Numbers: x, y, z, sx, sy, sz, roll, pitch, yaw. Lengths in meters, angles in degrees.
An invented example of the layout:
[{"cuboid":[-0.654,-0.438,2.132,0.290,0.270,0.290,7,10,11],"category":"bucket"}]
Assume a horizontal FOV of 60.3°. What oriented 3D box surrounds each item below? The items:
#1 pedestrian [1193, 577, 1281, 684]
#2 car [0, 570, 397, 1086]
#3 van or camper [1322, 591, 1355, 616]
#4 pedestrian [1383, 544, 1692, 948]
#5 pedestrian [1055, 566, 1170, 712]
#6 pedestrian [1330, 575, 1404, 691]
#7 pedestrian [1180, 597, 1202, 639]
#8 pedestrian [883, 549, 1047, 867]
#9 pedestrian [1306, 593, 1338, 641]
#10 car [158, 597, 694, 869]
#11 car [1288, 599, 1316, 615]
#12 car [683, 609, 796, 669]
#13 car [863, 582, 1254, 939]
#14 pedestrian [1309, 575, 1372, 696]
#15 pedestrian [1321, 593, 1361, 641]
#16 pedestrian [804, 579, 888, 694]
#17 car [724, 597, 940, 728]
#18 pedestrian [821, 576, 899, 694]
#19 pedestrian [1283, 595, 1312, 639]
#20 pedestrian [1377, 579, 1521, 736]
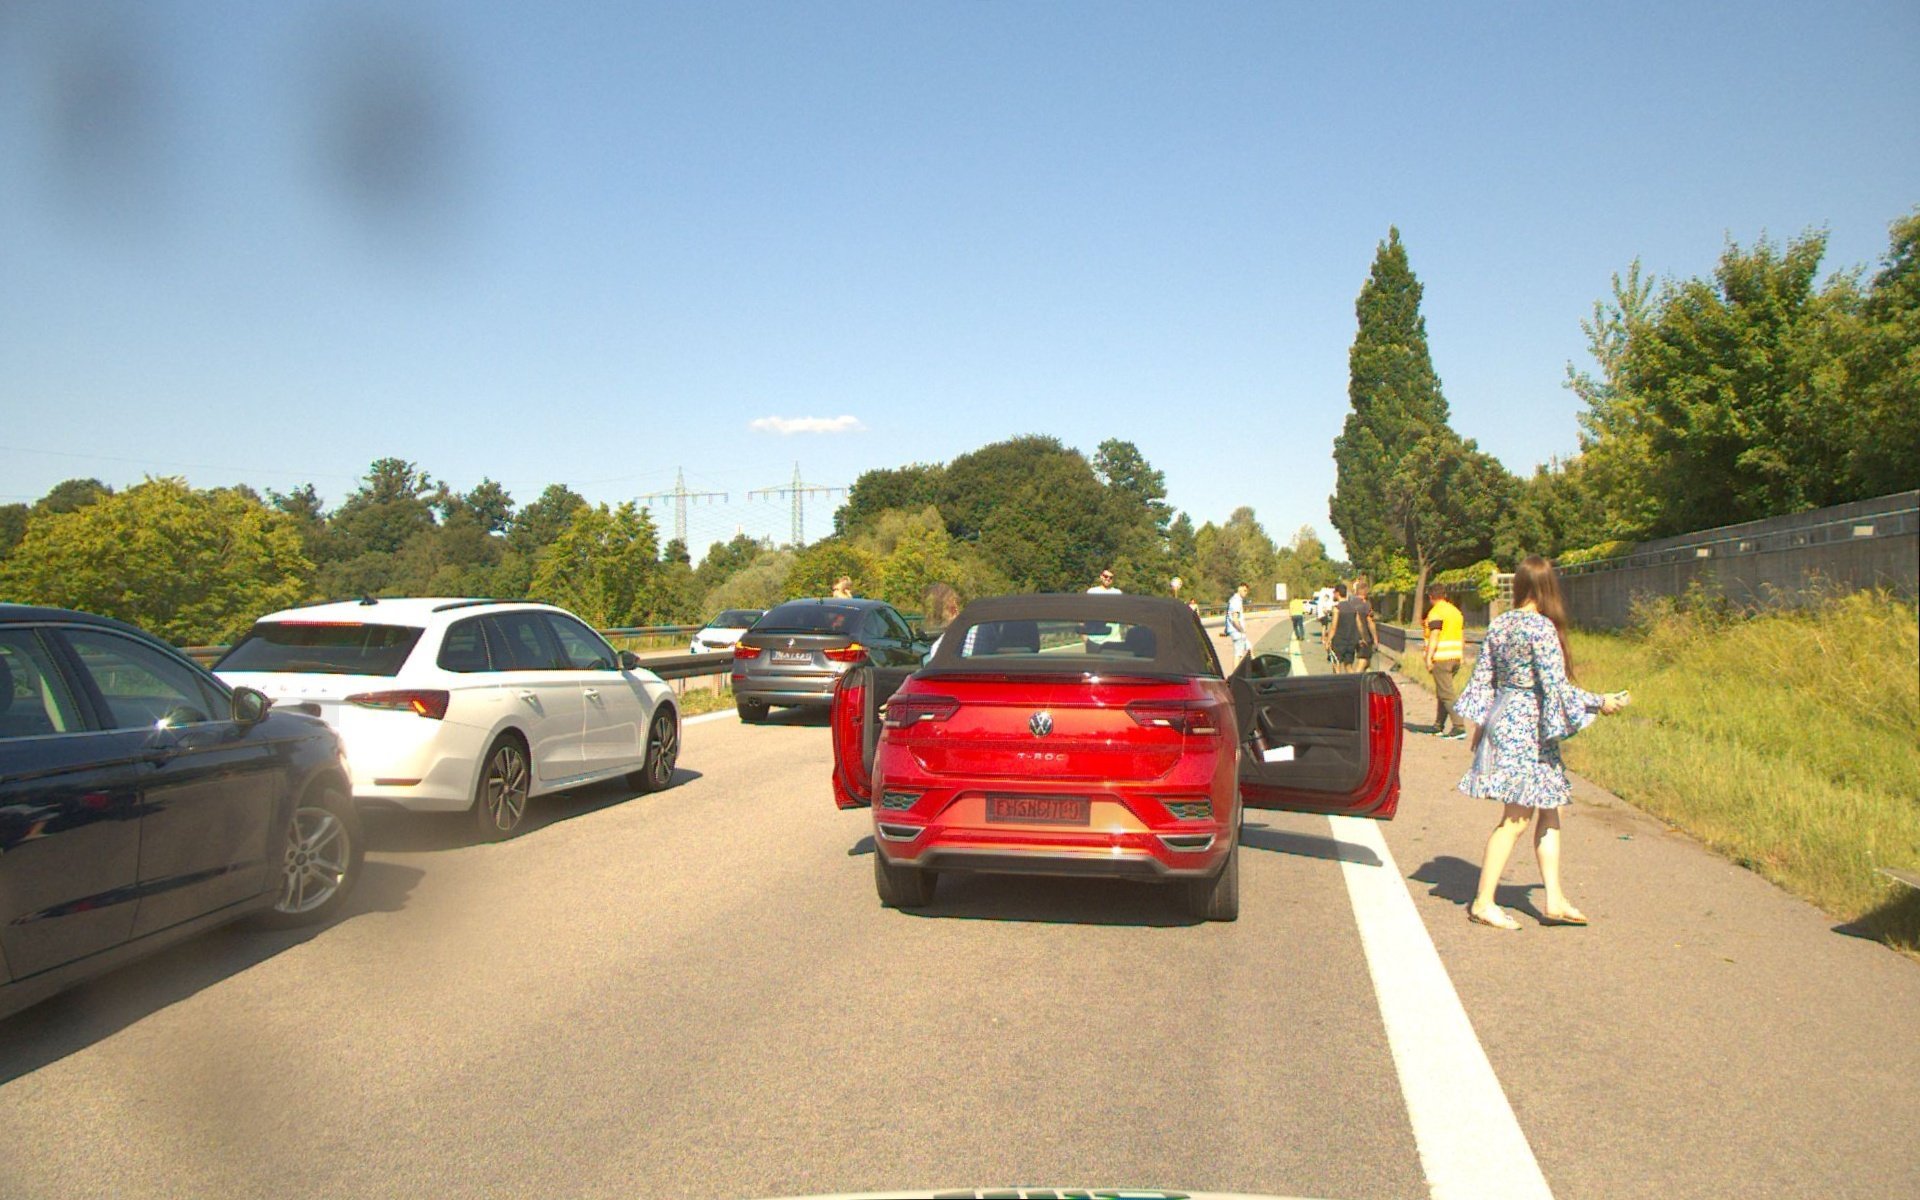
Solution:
[{"cuboid":[4.833,0.533,28.910,1.074,1.820,1.099,1,-1,-25],"category":"pedestrian"},{"cuboid":[-3.681,0.686,5.776,1.751,1.519,4.494,-1,0,2],"category":"car"},{"cuboid":[35.988,0.373,157.298,1.955,2.356,4.464,1,0,28],"category":"van or camper"},{"cuboid":[2.706,0.622,7.756,1.116,1.725,0.881,-1,0,-36],"category":"pedestrian"},{"cuboid":[2.092,0.520,22.830,1.092,1.946,1.247,-1,0,-25],"category":"pedestrian"},{"cuboid":[6.413,0.520,26.090,0.801,1.790,0.822,1,-1,-25],"category":"pedestrian"},{"cuboid":[9.641,0.743,68.978,0.775,1.719,0.793,1,-1,15],"category":"pedestrian"},{"cuboid":[0.043,0.586,9.326,0.821,1.712,0.744,-1,0,6],"category":"pedestrian"},{"cuboid":[13.204,0.606,60.413,1.090,1.719,0.974,1,0,11],"category":"pedestrian"},{"cuboid":[-3.319,0.722,11.243,1.658,1.467,4.214,1,0,10],"category":"car"},{"cuboid":[34.034,0.663,164.348,1.699,1.513,4.206,1,0,27],"category":"car"},{"cuboid":[-5.682,0.977,43.134,1.658,1.451,4.309,1,0,10],"category":"car"},{"cuboid":[0.781,0.682,9.295,1.695,1.513,4.214,1,0,10],"category":"car"},{"cuboid":[5.631,0.518,24.535,0.875,1.755,0.755,1,-1,11],"category":"pedestrian"},{"cuboid":[13.749,0.611,59.688,0.993,1.719,0.992,1,-1,-23],"category":"pedestrian"},{"cuboid":[-1.811,0.571,26.338,1.091,1.794,1.045,-1,0,10],"category":"pedestrian"},{"cuboid":[-1.490,0.702,20.874,1.658,1.451,4.337,1,0,10],"category":"car"},{"cuboid":[-1.650,0.572,27.540,1.042,1.916,1.094,-1,0,10],"category":"pedestrian"},{"cuboid":[13.189,0.664,64.605,1.033,1.719,1.018,1,0,17],"category":"pedestrian"},{"cuboid":[5.482,0.619,18.617,0.945,1.682,1.268,-1,0,-24],"category":"pedestrian"}]
